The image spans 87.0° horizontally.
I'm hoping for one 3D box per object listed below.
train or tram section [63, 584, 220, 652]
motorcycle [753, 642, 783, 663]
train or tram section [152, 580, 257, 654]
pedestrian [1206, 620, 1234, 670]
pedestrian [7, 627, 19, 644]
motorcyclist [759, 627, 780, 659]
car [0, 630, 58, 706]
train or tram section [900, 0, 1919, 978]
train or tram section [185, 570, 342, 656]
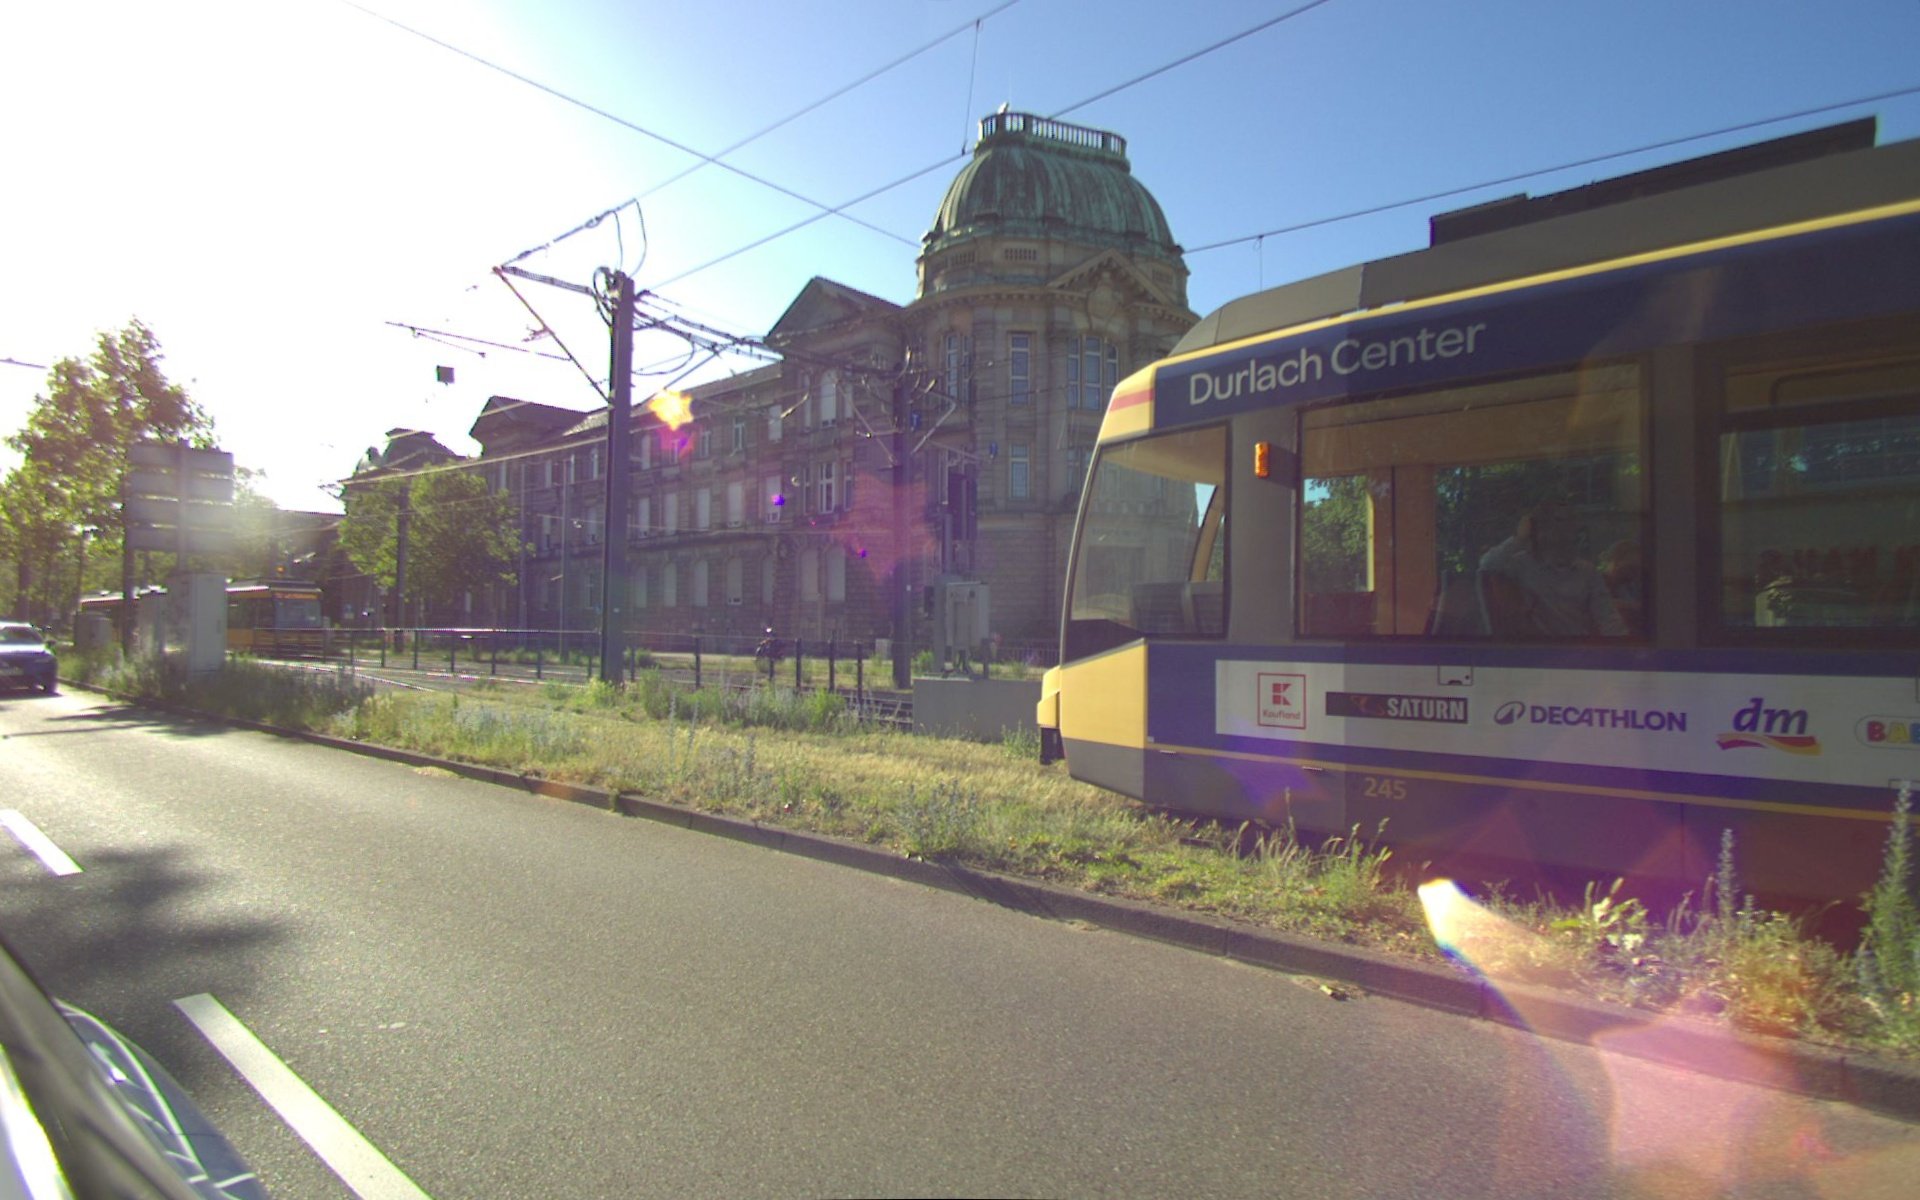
[{"bbox_3d":[-49.033,1.201,60.096,21.193,3.510,2.934,-2,-1,39],"label":"train or tram section"},{"bbox_3d":[-7.706,2.101,40.642,1.522,0.789,0.364,-1,-1,44],"label":"motorcycle"},{"bbox_3d":[-38.485,0.884,51.476,6.053,3.510,2.927,-2,-1,39],"label":"train or tram section"},{"bbox_3d":[9.480,1.630,36.901,0.917,1.786,0.754,-1,0,19],"label":"pedestrian"},{"bbox_3d":[-99.780,3.777,106.597,0.692,1.758,0.592,-1,0,9],"label":"pedestrian"},{"bbox_3d":[-7.655,1.714,40.613,0.508,1.267,0.692,-1,-1,-45],"label":"motorcyclist"},{"bbox_3d":[-20.104,1.378,20.946,3.868,1.459,1.754,-2,-1,43],"label":"car"},{"bbox_3d":[5.953,-0.607,3.397,14.264,3.841,2.899,-1,0,41],"label":"train or tram section"},{"bbox_3d":[-31.826,0.653,45.969,11.276,3.510,2.931,-2,-1,40],"label":"train or tram section"}]
